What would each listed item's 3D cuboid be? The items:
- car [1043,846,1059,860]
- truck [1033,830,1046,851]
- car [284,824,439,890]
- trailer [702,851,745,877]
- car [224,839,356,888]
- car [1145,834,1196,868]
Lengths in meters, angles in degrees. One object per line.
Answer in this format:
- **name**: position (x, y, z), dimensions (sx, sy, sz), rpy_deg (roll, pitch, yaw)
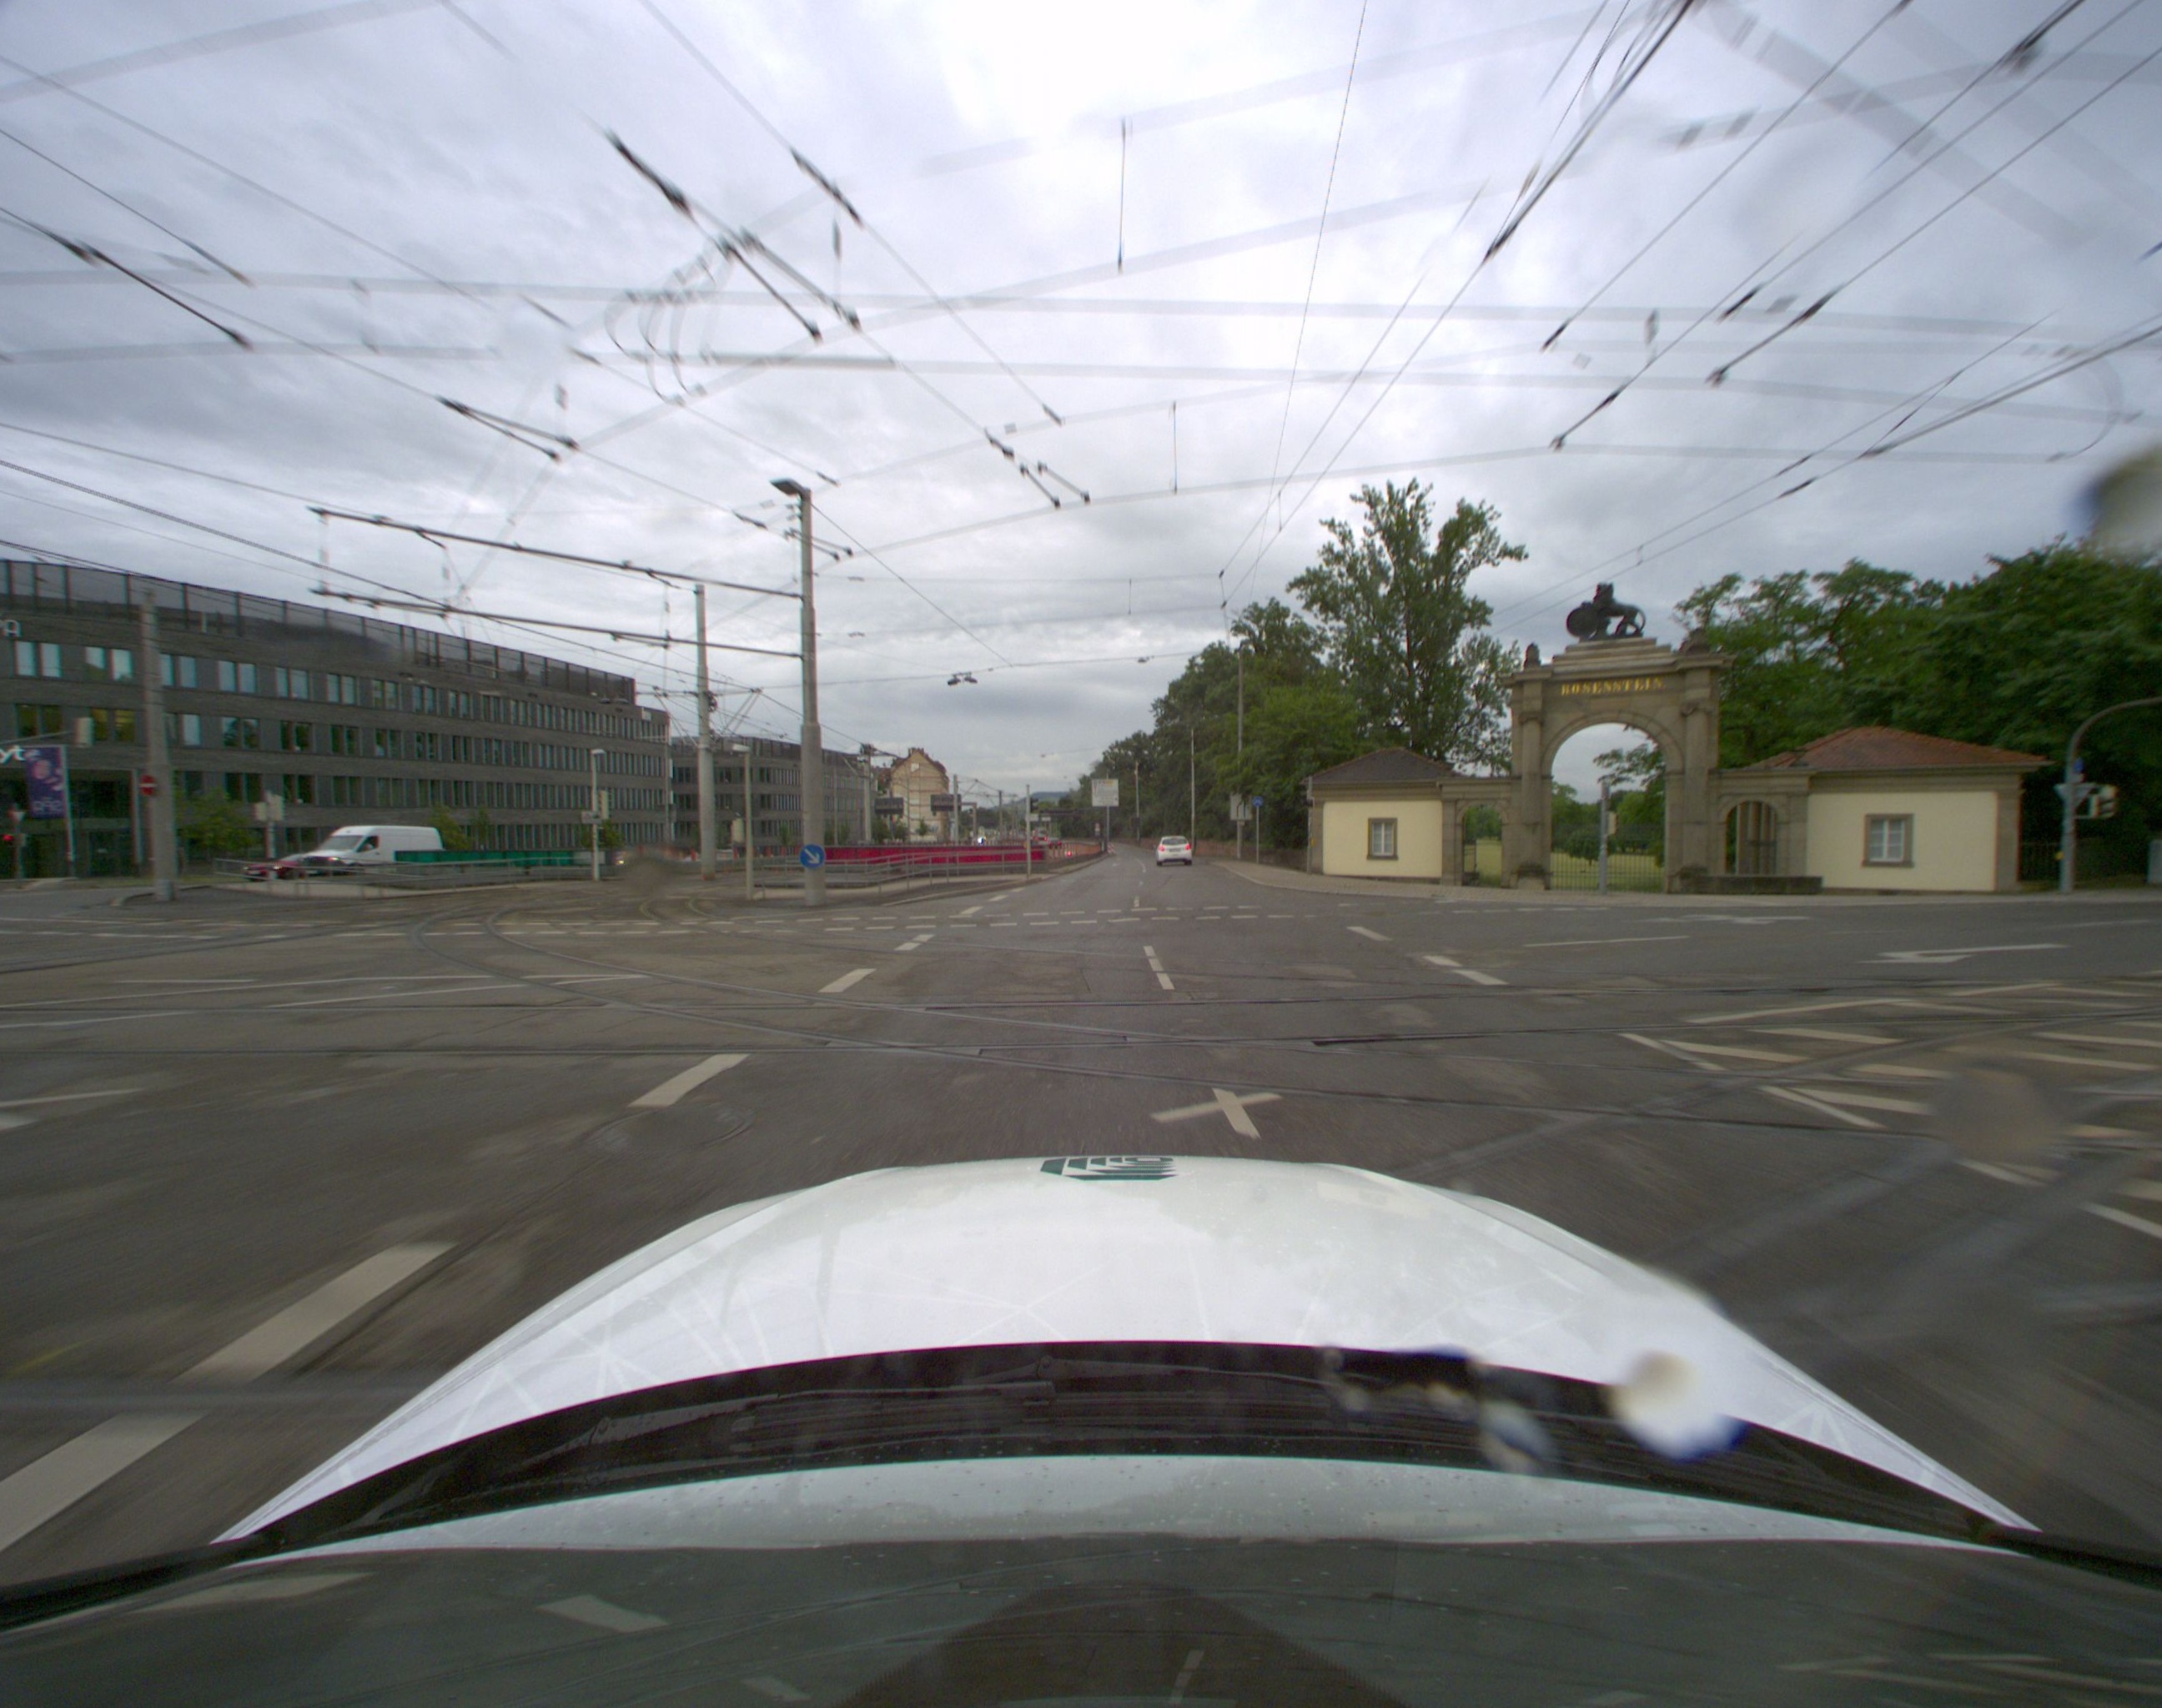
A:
- **car**: position (-4.181, -0.106, 114.102), dimensions (1.991, 1.872, 3.992), rpy_deg (-2, -1, -6)
- **truck**: position (-11.998, -3.843, 235.935), dimensions (3.458, 5.402, 12.030), rpy_deg (0, -3, -4)
- **car**: position (-34.126, 0.164, 38.931), dimensions (1.985, 2.832, 5.722), rpy_deg (-3, -1, 3)
- **trailer**: position (-32.065, 0.940, 73.235), dimensions (1.818, 2.075, 4.276), rpy_deg (-1, -3, 2)
- **car**: position (-37.638, 0.475, 38.918), dimensions (1.985, 2.153, 4.250), rpy_deg (-2, -2, 3)
- **car**: position (4.492, -0.099, 41.496), dimensions (1.951, 1.488, 3.995), rpy_deg (-1, -3, -3)
